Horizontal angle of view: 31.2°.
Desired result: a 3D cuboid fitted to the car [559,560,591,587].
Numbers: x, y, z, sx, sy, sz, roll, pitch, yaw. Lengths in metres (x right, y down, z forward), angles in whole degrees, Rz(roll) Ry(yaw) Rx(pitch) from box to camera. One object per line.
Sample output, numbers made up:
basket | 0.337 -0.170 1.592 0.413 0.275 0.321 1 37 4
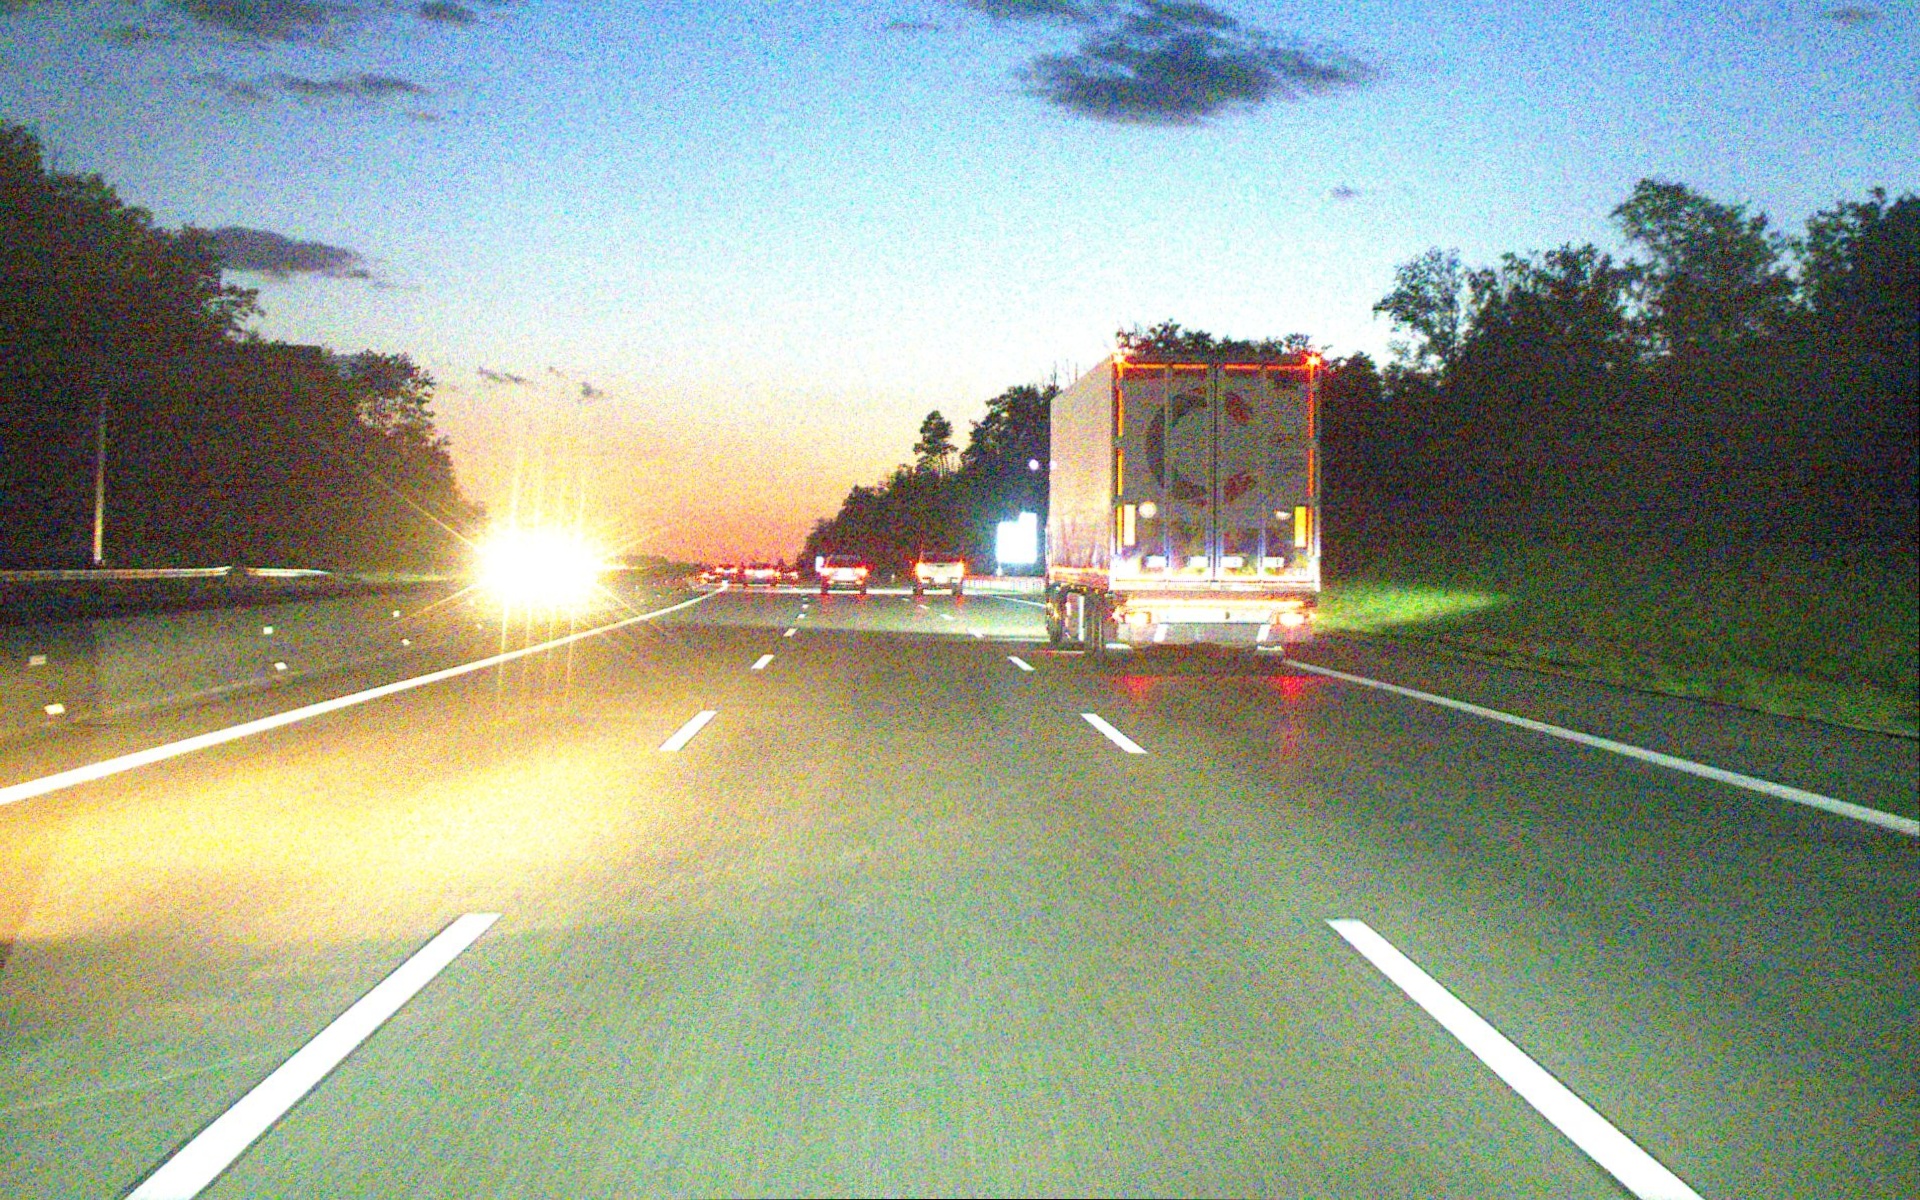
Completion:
car | -25.053 -1.720 223.826 1.745 1.656 4.000 1 -1 -2

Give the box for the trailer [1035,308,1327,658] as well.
trailer | 2.895 -1.559 50.606 2.829 4.242 17.050 1 1 -1

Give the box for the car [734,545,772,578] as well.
car | -11.873 -2.184 197.132 1.993 1.788 4.000 1 0 -2

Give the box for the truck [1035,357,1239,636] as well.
truck | 2.796 -1.641 56.022 2.829 4.242 6.263 1 1 -1

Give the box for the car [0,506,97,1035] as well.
car | -3.734 0.552 8.234 1.993 1.513 5.651 1 2 -1

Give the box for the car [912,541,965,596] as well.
car | -0.860 -1.261 137.482 1.993 2.110 4.000 1 0 -2

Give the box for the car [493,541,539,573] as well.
car | -23.546 -2.276 182.394 1.993 1.656 4.000 1 1 -2

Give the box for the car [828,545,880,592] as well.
car | -4.256 -1.231 137.525 1.993 1.788 4.000 1 0 -2

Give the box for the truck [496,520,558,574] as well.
truck | -31.109 -3.812 247.623 3.312 3.795 10.986 1 1 -2
